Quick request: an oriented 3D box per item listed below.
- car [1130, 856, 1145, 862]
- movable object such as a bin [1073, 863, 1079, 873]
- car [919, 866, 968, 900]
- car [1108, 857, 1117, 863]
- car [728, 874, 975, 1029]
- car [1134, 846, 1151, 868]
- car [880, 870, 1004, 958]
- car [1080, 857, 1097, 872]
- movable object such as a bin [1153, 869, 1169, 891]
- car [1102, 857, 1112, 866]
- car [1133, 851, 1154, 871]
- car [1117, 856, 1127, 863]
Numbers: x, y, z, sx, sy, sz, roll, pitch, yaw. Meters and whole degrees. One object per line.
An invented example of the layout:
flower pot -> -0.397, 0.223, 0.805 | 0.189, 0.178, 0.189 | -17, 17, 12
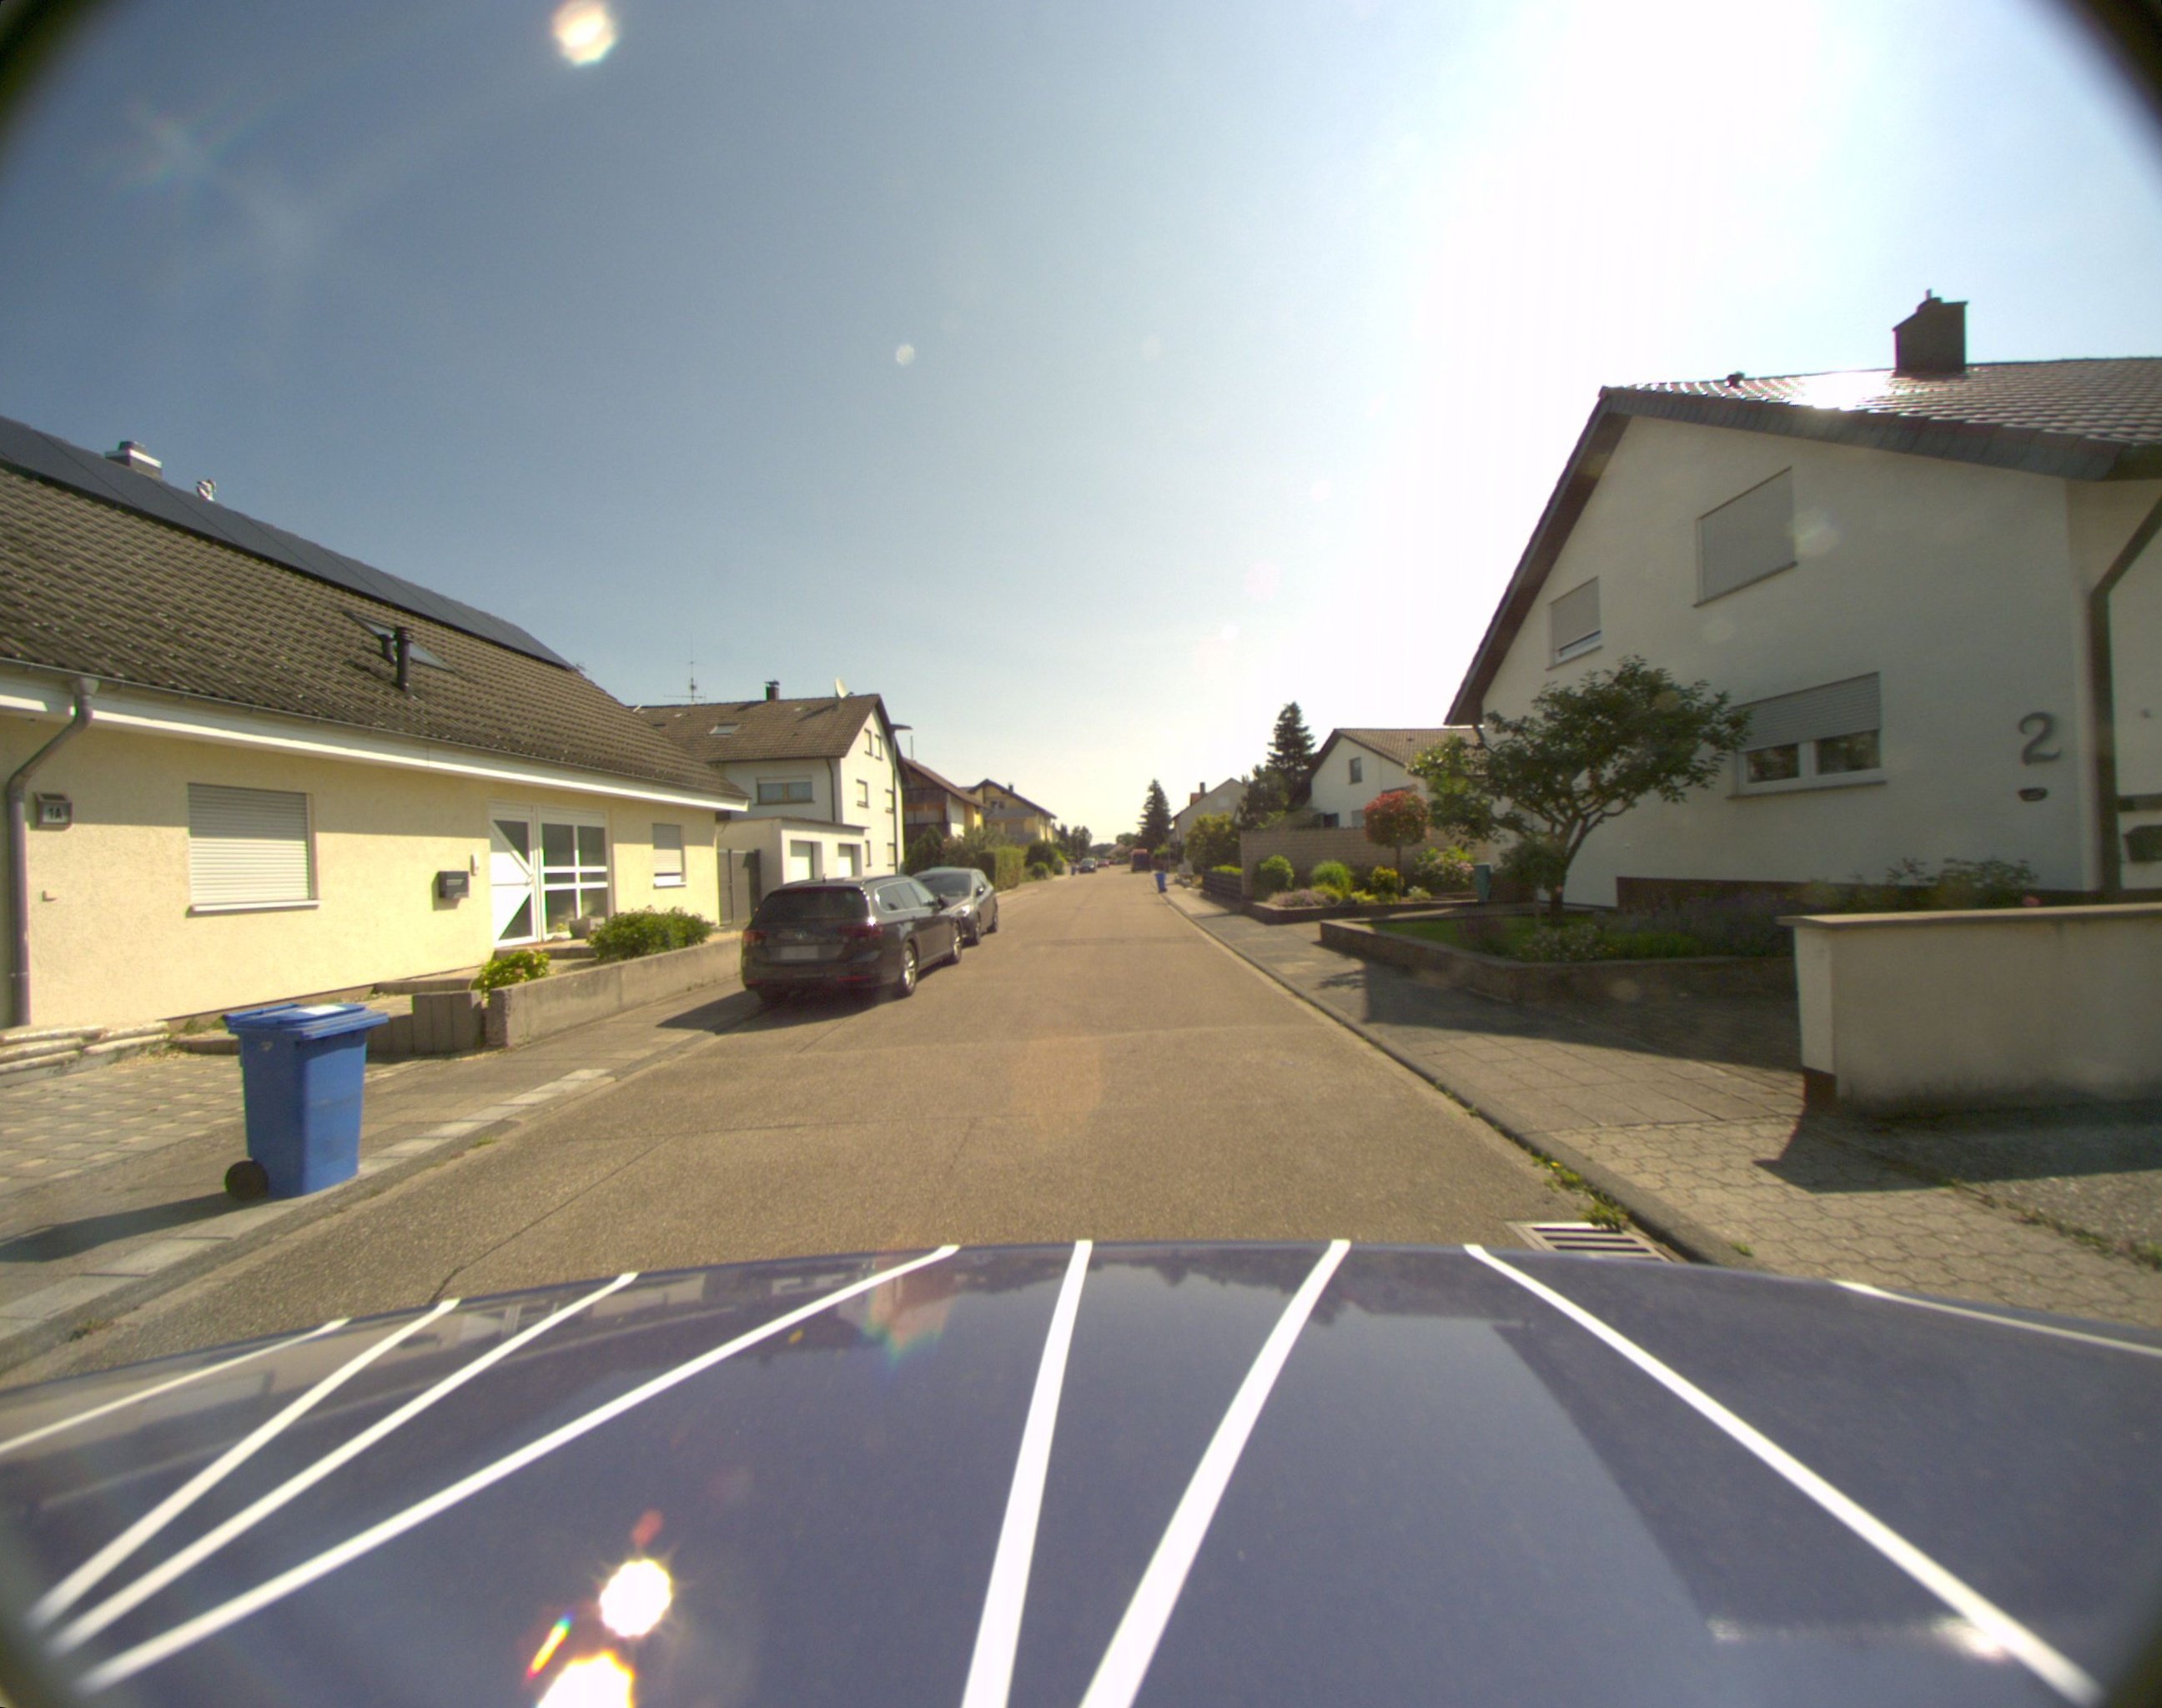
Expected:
car -> 13.957, 1.215, 188.528 | 3.413, 1.521, 1.638 | -2, 0, -3
movable object such as a bin -> -0.528, 1.404, 76.879 | 0.584, 0.911, 0.598 | -3, 0, 2
car -> -6.068, 1.251, 33.903 | 1.498, 1.351, 3.527 | -2, 0, 0
car -> 7.970, 1.604, 192.124 | 1.709, 1.332, 4.000 | -3, -2, -5
car -> -2.800, 1.125, 10.473 | 1.721, 1.430, 4.503 | -4, 0, 3
car -> 6.898, 0.299, 85.455 | 1.555, 2.310, 4.205 | -3, 0, 3
car -> -2.726, 1.135, 15.783 | 1.646, 1.470, 4.001 | -4, -1, 2
car -> 0.888, 1.143, 86.310 | 1.631, 1.616, 4.002 | -3, -1, 5
movable object such as a bin -> 3.473, 1.139, 33.061 | 0.584, 0.911, 0.598 | -3, 0, 2
car -> 4.332, 1.215, 128.547 | 1.517, 1.397, 3.678 | -3, -1, 1
car -> 6.268, 0.686, 76.258 | 1.869, 1.927, 4.205 | -3, 0, 3
car -> 9.727, 1.303, 179.647 | 1.709, 1.332, 4.000 | -3, -2, -5
